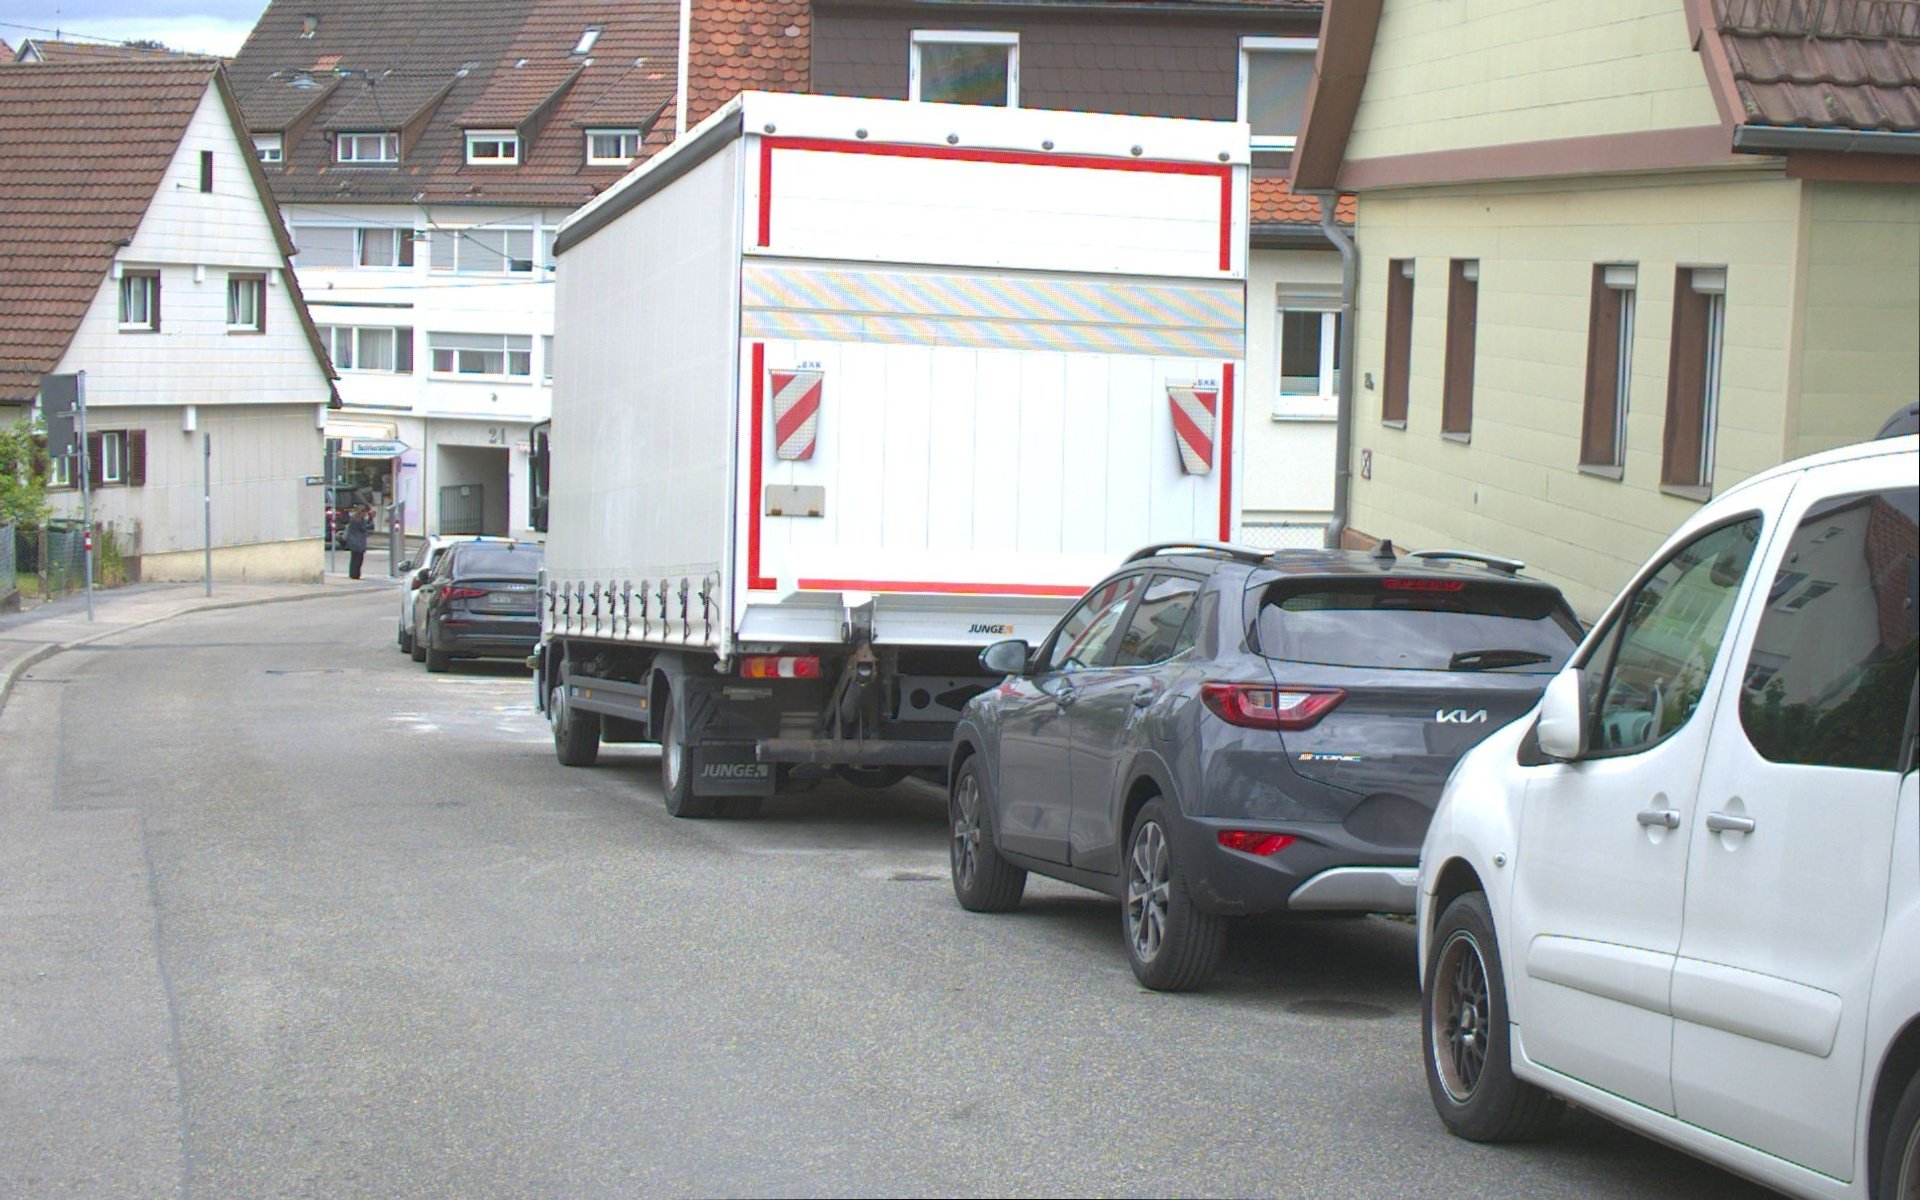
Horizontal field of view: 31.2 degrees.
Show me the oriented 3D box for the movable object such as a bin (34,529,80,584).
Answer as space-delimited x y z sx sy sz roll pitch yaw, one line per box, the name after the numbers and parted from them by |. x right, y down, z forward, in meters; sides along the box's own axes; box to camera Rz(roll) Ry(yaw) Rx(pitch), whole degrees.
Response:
-15.967 -0.771 60.822 0.527 0.914 0.489 6 1 21 | movable object such as a bin

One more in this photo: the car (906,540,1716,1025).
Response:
1.114 0.567 12.937 1.732 1.501 4.052 2 0 -13 | car

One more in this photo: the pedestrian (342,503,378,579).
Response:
-13.468 -1.325 77.200 0.646 1.679 0.604 1 3 -21 | pedestrian

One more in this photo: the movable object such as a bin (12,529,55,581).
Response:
-16.458 -0.798 61.072 0.495 0.875 0.452 6 1 22 | movable object such as a bin

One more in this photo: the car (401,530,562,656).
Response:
-6.103 -0.123 43.493 1.794 1.440 4.299 2 1 -10 | car

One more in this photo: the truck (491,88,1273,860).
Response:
-0.867 -0.666 20.258 2.675 3.585 8.108 1 1 -15 | truck

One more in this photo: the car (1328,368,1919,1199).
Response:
2.340 0.496 7.522 1.834 1.808 4.305 2 1 -10 | car

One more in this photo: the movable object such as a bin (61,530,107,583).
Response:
-15.463 -0.761 60.685 0.527 0.881 0.489 6 1 21 | movable object such as a bin

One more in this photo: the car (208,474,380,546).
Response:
-17.848 -2.439 92.087 4.362 1.773 1.944 3 4 32 | car

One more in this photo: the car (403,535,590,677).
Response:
-5.188 0.032 38.116 1.673 1.404 4.053 3 1 -12 | car
